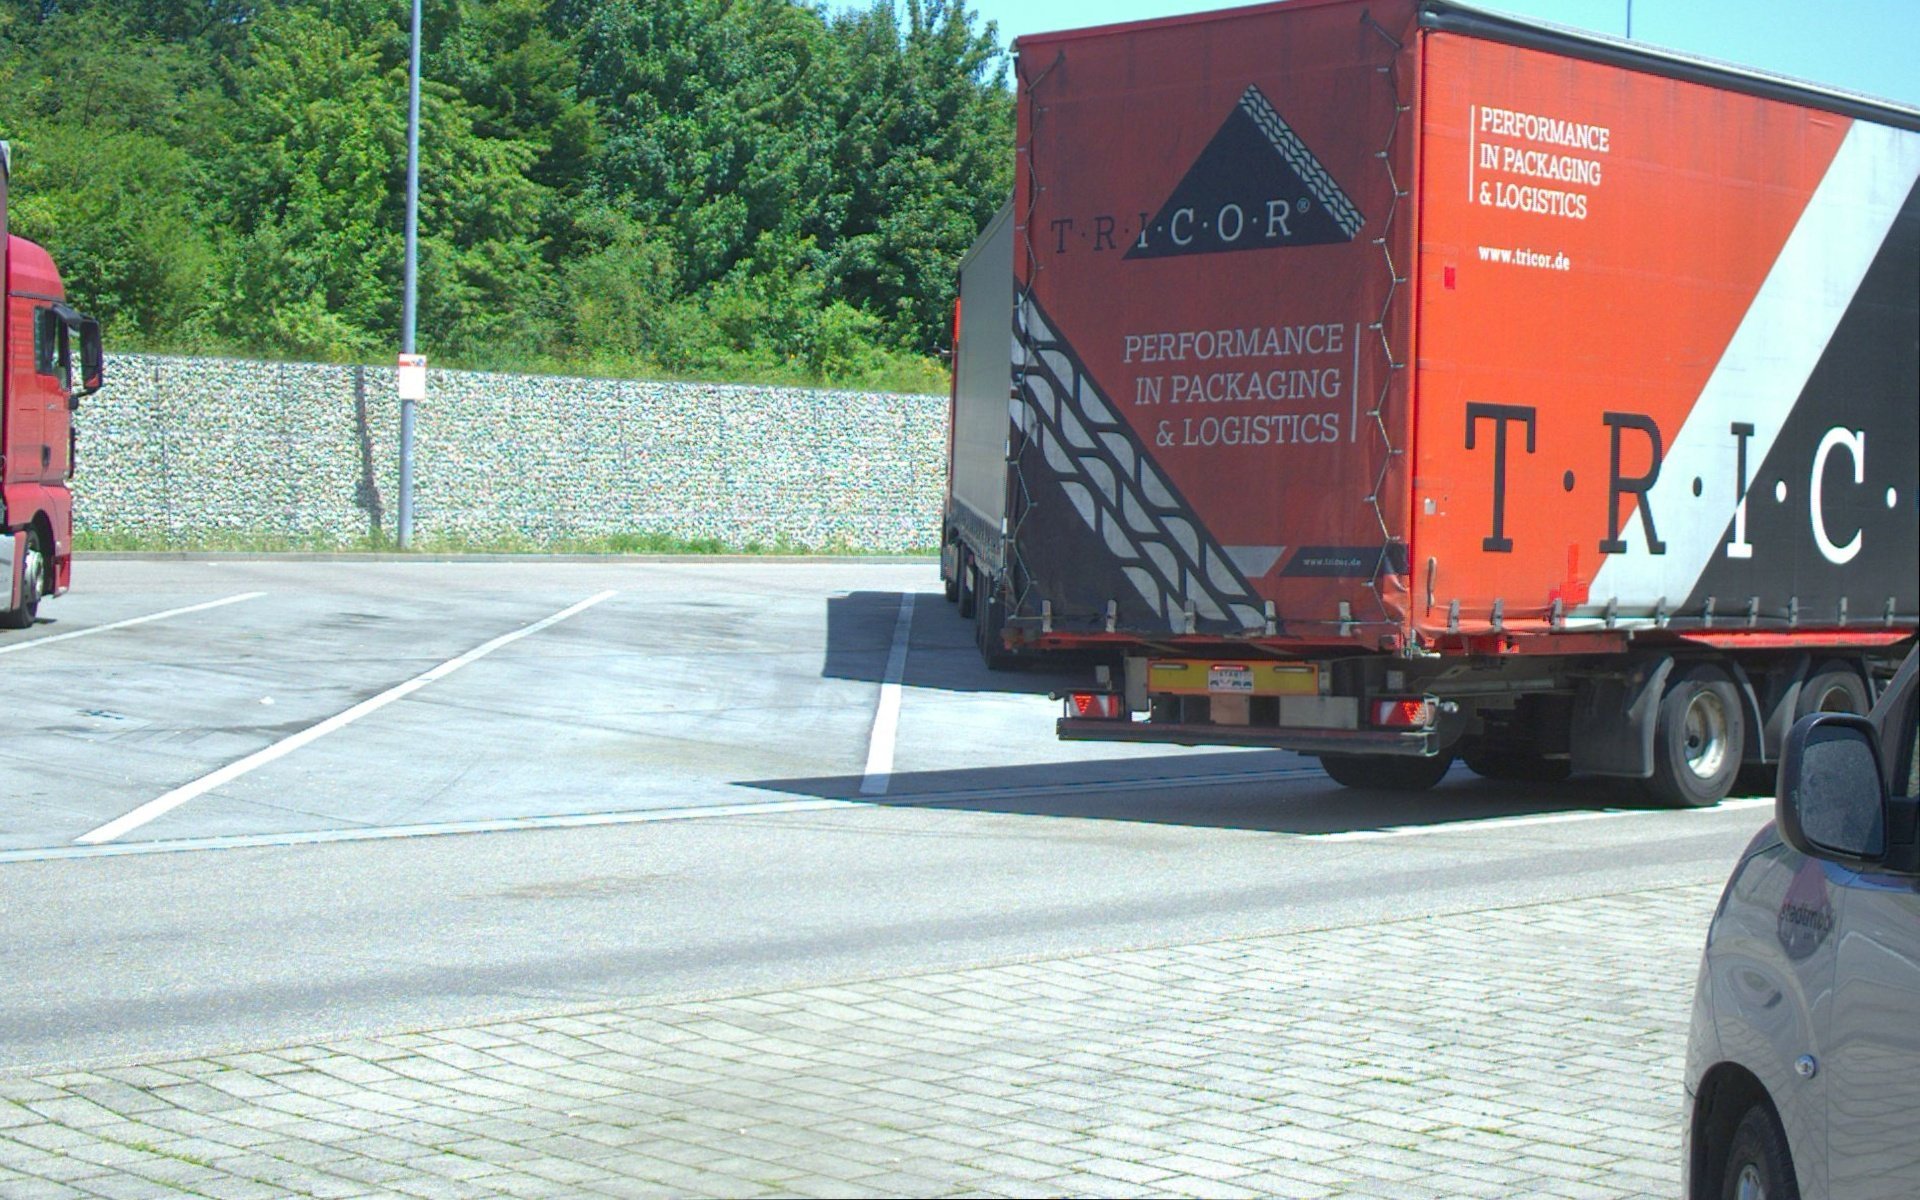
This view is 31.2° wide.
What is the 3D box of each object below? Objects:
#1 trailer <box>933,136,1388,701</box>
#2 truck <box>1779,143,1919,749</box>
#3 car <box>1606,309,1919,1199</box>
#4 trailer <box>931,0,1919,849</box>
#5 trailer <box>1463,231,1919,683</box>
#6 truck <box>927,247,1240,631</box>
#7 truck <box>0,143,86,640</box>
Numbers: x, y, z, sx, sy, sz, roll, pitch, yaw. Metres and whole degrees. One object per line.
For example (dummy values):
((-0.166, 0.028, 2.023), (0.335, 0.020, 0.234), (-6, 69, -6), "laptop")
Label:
((1.476, -1.698, 32.644), (3.069, 4.213, 12.810), (2, 3, -2), "trailer")
((10.425, -1.112, 26.930), (2.692, 4.113, 10.578), (2, 2, 44), "truck")
((2.137, 0.538, 3.801), (1.825, 1.747, 4.001), (1, 2, -4), "car")
((3.865, -1.081, 20.040), (2.841, 4.243, 8.663), (2, 2, 43), "trailer")
((8.140, -1.531, 38.260), (2.876, 4.110, 13.572), (1, 2, -1), "trailer")
((1.261, -1.856, 39.412), (3.026, 3.915, 6.847), (2, 3, -2), "truck")
((-9.233, -1.701, 27.661), (2.743, 4.067, 6.830), (1, 2, -1), "truck")
